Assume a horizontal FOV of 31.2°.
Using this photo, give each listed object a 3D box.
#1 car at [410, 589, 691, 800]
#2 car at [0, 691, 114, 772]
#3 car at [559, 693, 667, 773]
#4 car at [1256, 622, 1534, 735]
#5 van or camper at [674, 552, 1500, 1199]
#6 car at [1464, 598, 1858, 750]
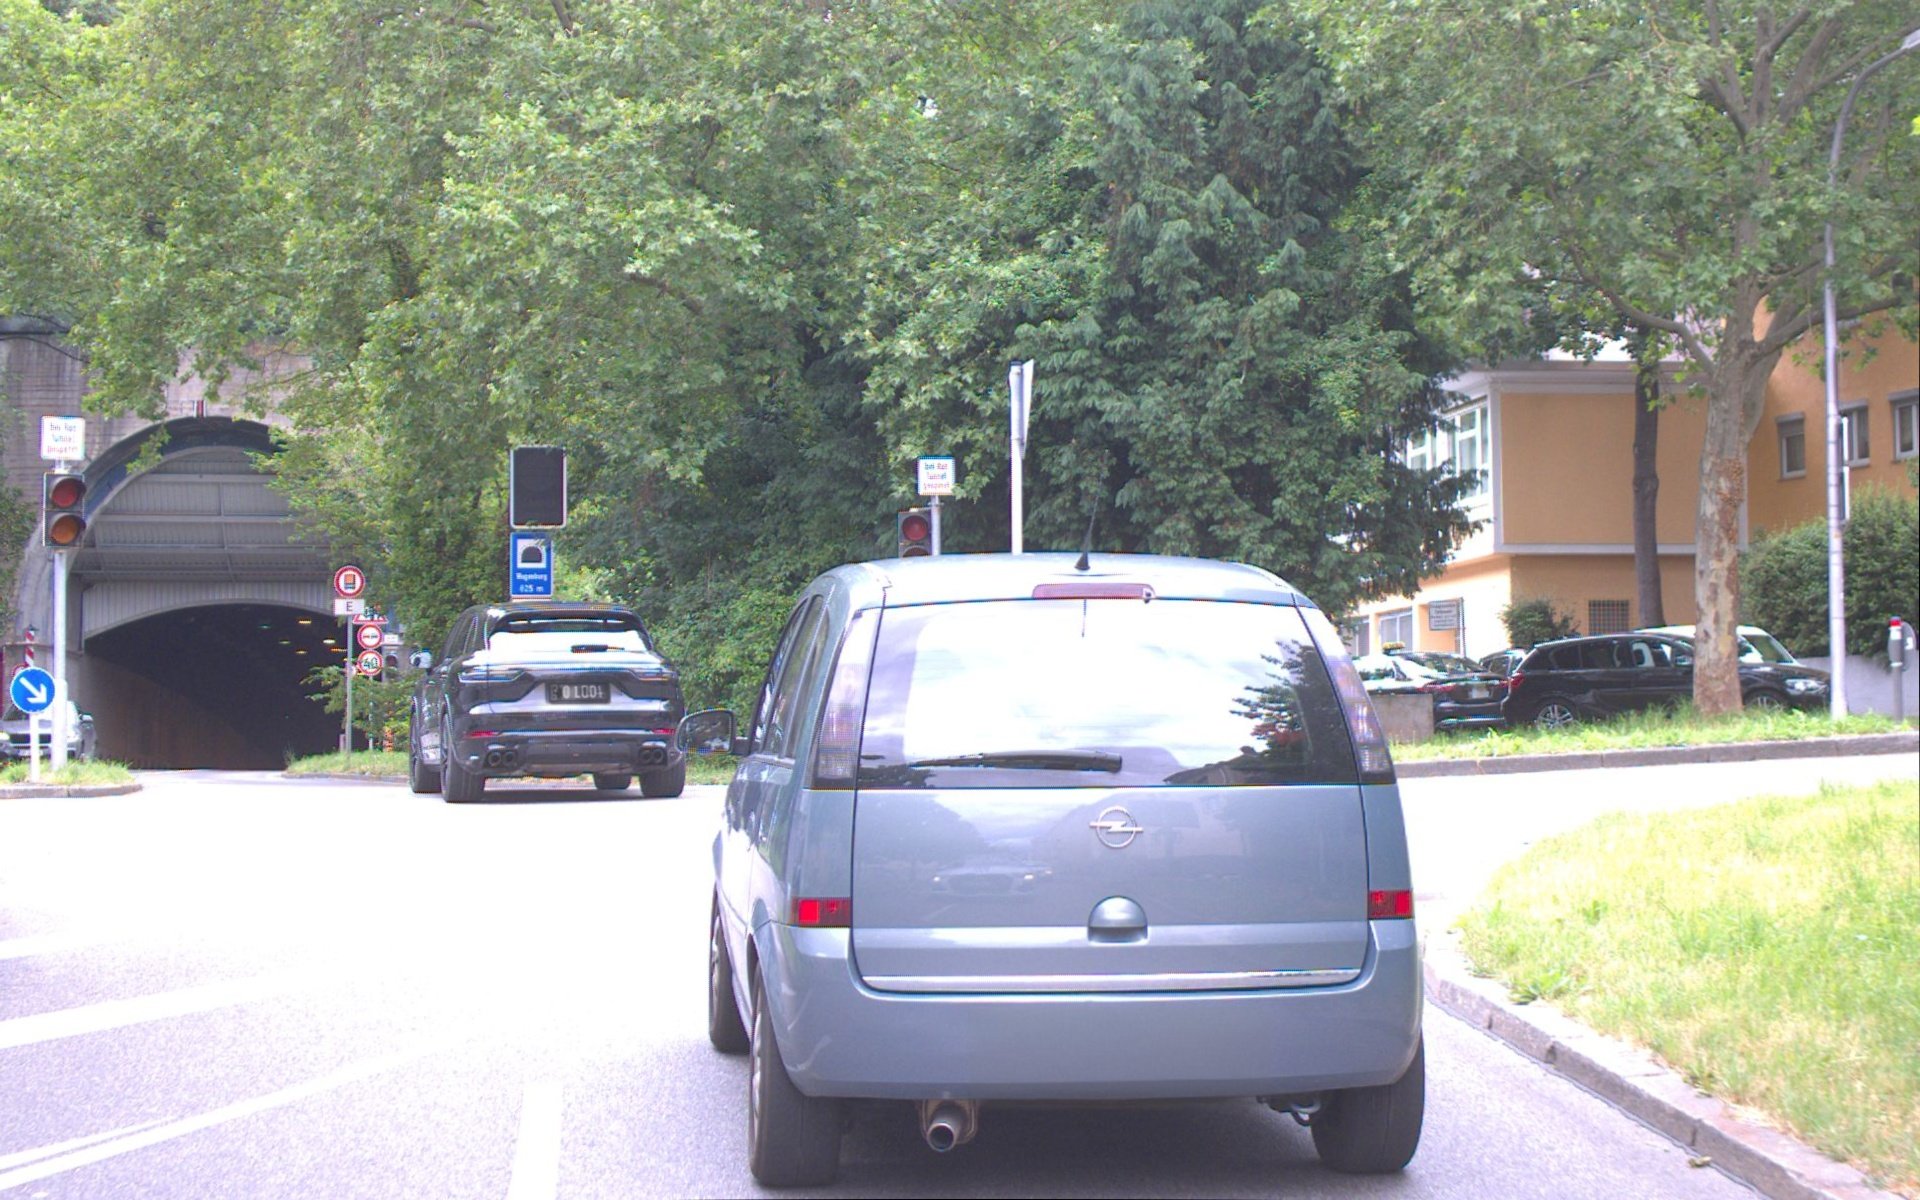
[{"bbox_3d":[-3.585,0.774,29.507,1.993,1.647,4.001,-1,0,-12],"label":"car"},{"bbox_3d":[-19.694,2.855,74.697,1.869,1.693,4.936,-1,-2,-6],"label":"car"},{"bbox_3d":[-6.651,2.538,65.558,1.784,1.437,5.063,-1,-2,-9],"label":"car"},{"bbox_3d":[6.566,1.225,52.525,1.993,1.573,4.905,-1,-2,-23],"label":"car"},{"bbox_3d":[0.156,0.687,9.727,1.735,1.572,3.647,-2,1,-7],"label":"van or camper"},{"bbox_3d":[8.870,0.941,43.563,4.418,1.480,1.860,-6,-2,29],"label":"car"}]
